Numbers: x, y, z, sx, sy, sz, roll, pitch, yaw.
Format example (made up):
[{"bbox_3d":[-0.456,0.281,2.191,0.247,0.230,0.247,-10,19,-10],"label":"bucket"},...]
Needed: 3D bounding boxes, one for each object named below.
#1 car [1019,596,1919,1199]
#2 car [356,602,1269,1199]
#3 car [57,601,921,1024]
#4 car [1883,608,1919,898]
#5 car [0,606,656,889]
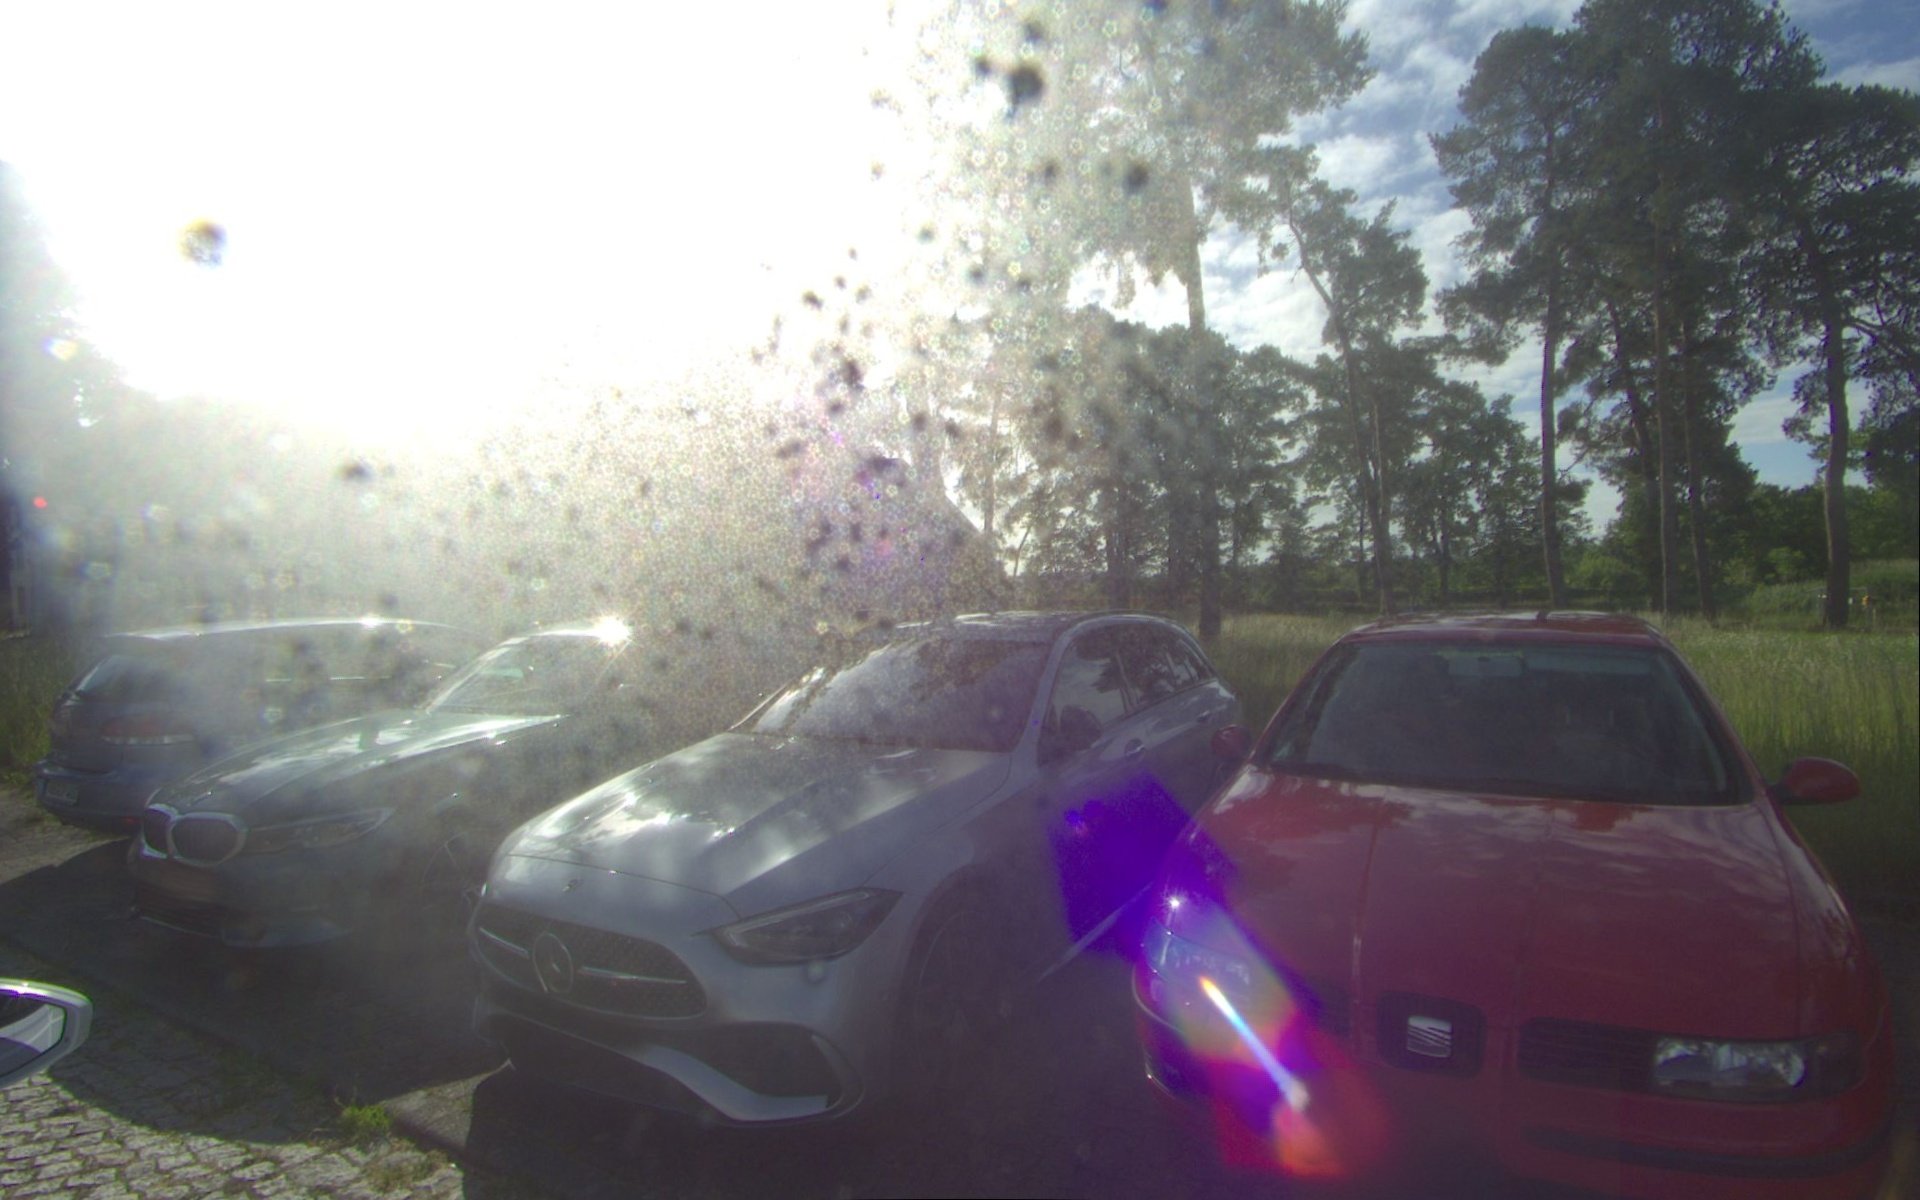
[{"bbox_3d":[1.908,0.770,3.570,1.613,1.469,4.117,0,2,32],"label":"car"},{"bbox_3d":[-0.036,0.792,4.662,1.755,1.434,4.421,0,2,32],"label":"car"},{"bbox_3d":[-2.181,0.789,6.031,1.613,1.434,4.548,0,2,32],"label":"car"},{"bbox_3d":[4.223,0.701,2.810,1.721,1.240,3.698,0,2,32],"label":"car"},{"bbox_3d":[-4.377,0.820,7.551,1.613,1.434,3.873,0,2,32],"label":"car"}]
